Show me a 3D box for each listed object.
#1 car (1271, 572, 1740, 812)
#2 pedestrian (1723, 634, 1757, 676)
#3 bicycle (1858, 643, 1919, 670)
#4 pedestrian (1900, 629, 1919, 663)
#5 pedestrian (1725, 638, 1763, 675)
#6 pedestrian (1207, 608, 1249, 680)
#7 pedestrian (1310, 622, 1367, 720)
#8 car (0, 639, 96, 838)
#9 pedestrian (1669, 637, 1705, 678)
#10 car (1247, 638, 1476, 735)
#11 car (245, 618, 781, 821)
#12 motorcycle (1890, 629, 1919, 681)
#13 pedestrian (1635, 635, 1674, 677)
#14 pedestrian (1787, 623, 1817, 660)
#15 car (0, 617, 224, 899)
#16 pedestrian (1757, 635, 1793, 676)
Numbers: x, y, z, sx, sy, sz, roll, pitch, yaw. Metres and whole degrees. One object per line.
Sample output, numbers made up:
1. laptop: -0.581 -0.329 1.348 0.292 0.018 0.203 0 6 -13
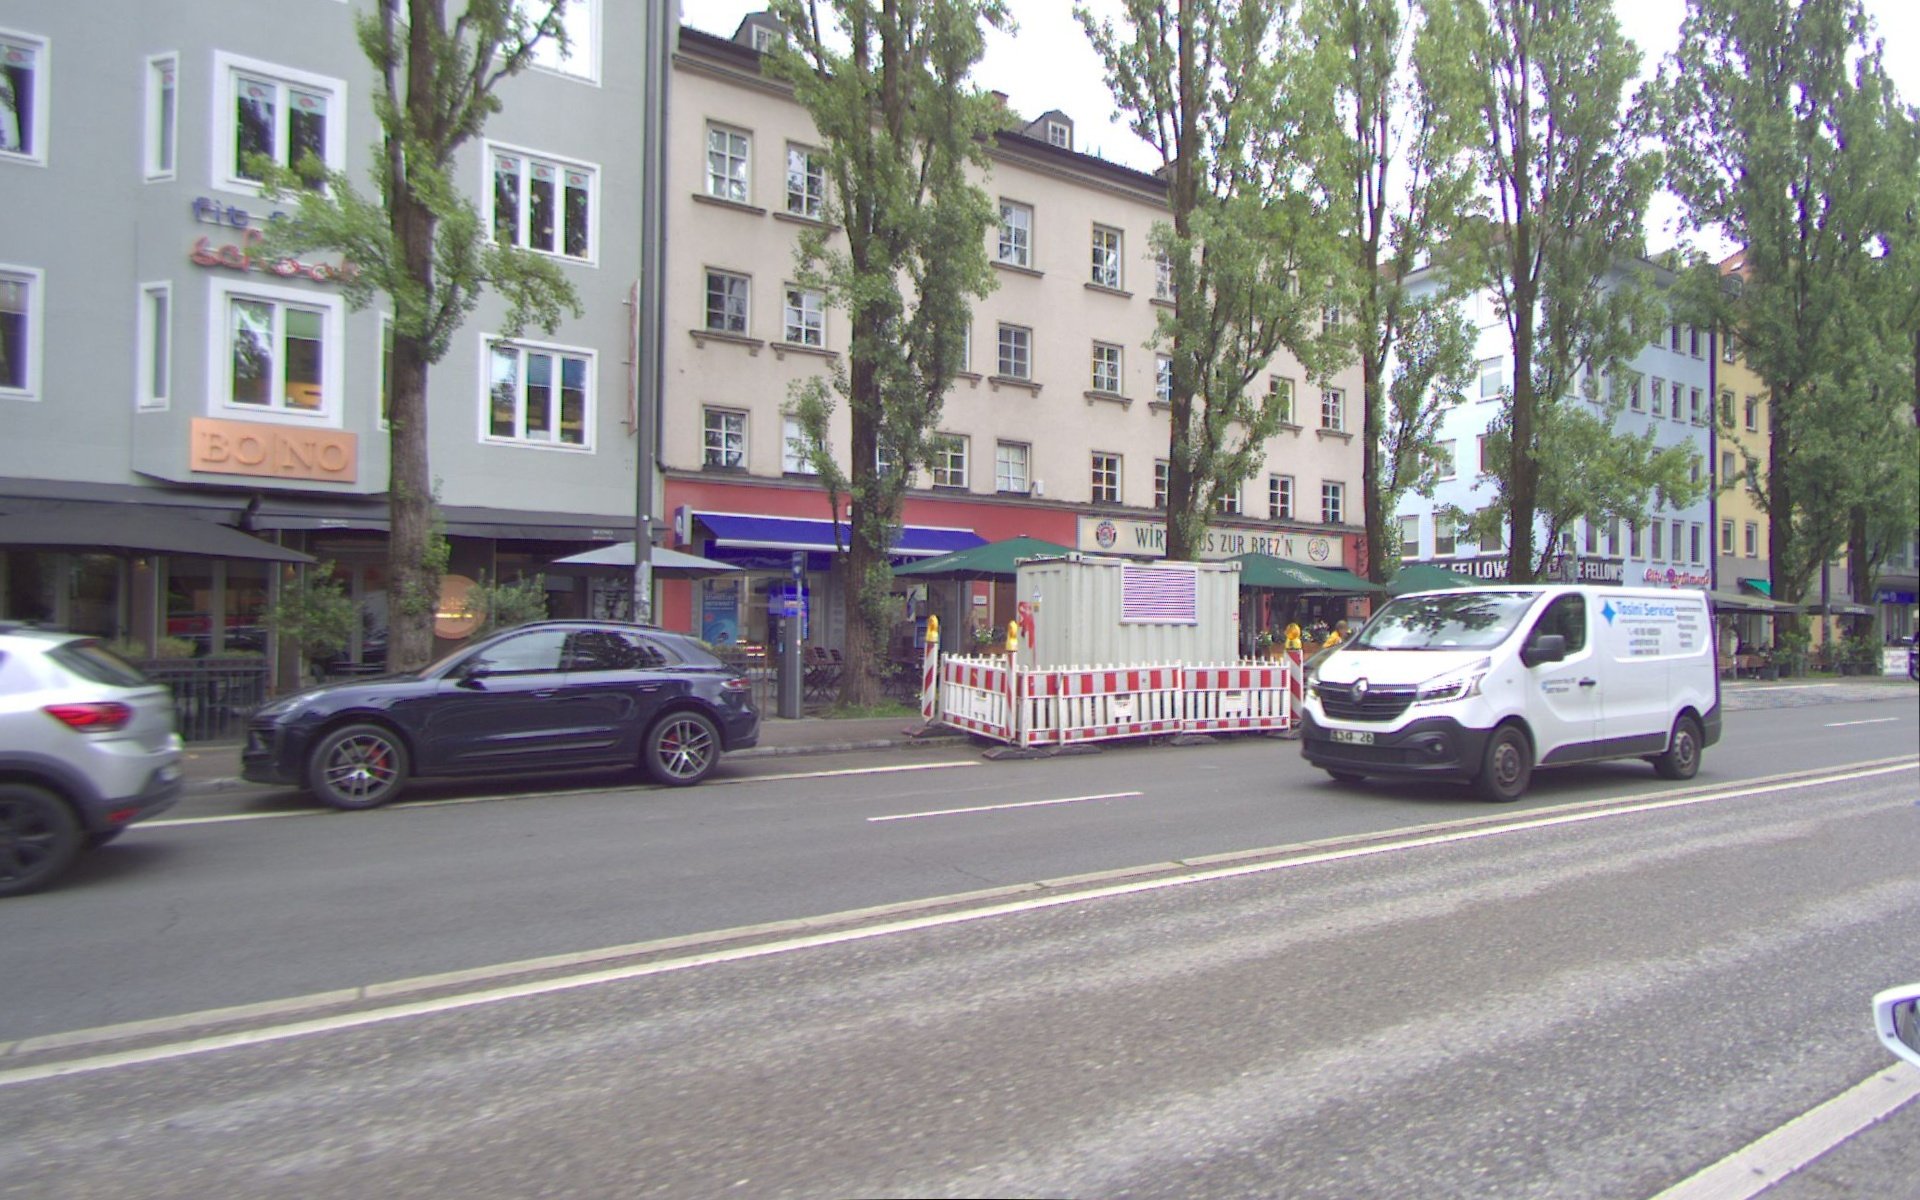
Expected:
1. car: 5.687 0.825 10.293 5.011 1.958 1.884 1 -2 -30
2. pedestrian: 26.636 1.867 34.304 0.692 1.380 0.709 1 -2 -32
3. bicycle: 37.137 2.257 40.199 0.416 1.040 1.764 1 -2 -32
4. pedestrian: 51.206 2.474 54.033 0.717 1.818 0.695 1 -2 -25
5. pedestrian: 26.242 1.886 33.624 0.692 1.198 0.811 1 -2 -31
6. pedestrian: 7.411 1.209 27.745 0.894 1.952 0.695 1 -2 -27
7. pedestrian: 6.942 1.277 18.434 0.724 1.749 0.694 1 -2 -32
8. car: -9.302 1.009 7.112 4.520 1.459 1.789 1 -2 -30
9. pedestrian: 24.715 1.938 34.144 0.808 1.380 0.695 1 -2 -27
10. car: 6.742 1.370 16.806 3.745 1.441 1.745 1 -3 -34
11. car: -4.238 1.038 10.031 4.520 1.634 1.789 1 -2 -30
12. motorcycle: 30.366 1.708 31.018 2.301 1.584 0.715 1 0 18
13. pedestrian: 23.322 1.879 33.736 0.938 1.380 0.695 1 -2 -27
14. pedestrian: 37.296 1.831 44.506 0.713 1.657 0.699 0 -1 -6
15. car: -6.814 0.892 5.709 4.028 1.561 1.706 1 -3 -30
16. pedestrian: 27.598 1.877 34.015 0.838 1.380 0.694 1 -2 -31
